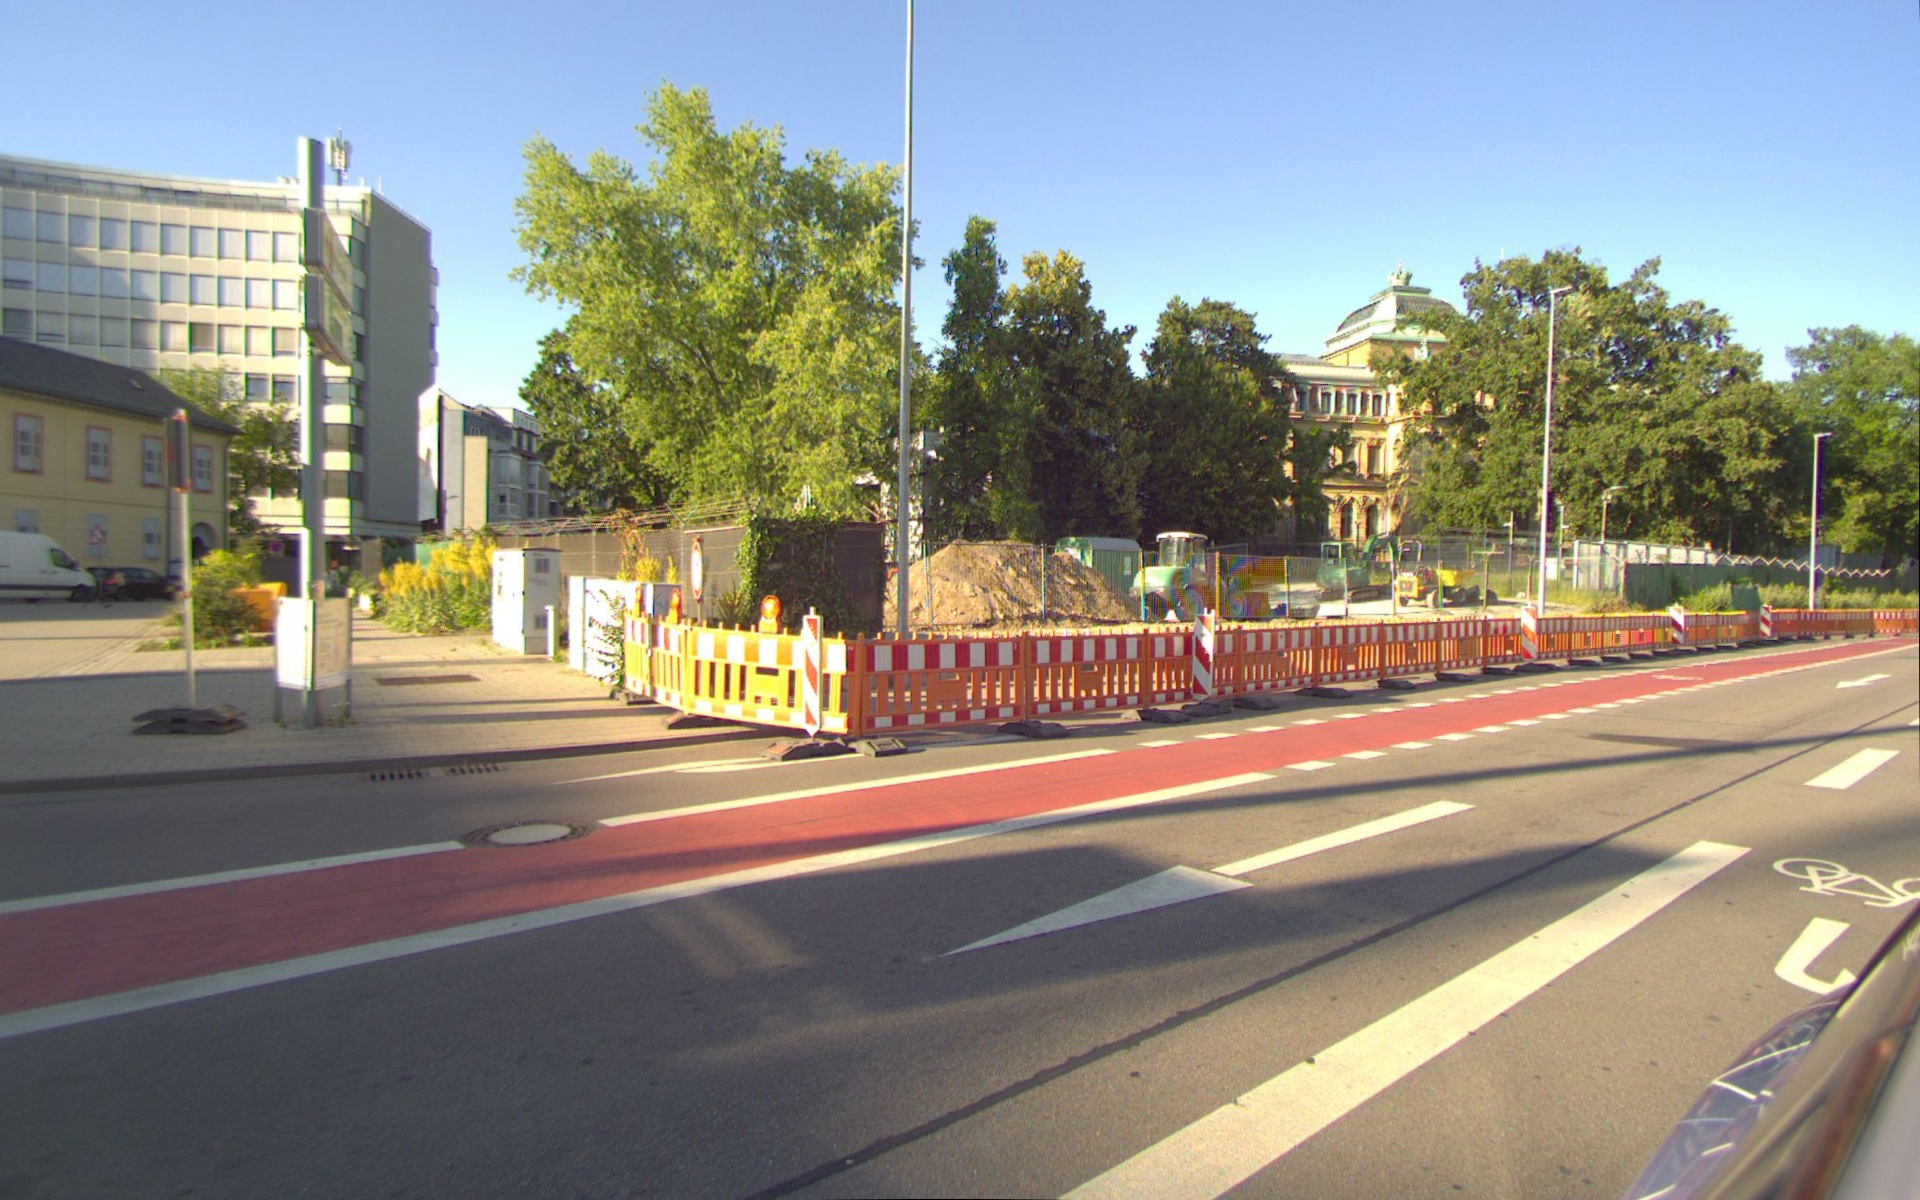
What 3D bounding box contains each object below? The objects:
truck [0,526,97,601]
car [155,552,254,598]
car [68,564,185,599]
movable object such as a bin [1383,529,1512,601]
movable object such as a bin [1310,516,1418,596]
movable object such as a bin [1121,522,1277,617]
[{"bbox_3d":[-34.309,-1.257,36.064,2.258,2.581,5.638,0,0,1],"label":"truck"},{"bbox_3d":[-34.390,-1.094,46.177,1.682,2.005,3.761,0,0,1],"label":"car"},{"bbox_3d":[-34.335,-0.738,41.823,1.682,1.382,3.761,0,0,1],"label":"car"},{"bbox_3d":[20.432,-1.402,42.361,5.750,2.852,2.002,-1,0,-30],"label":"movable object such as a bin"},{"bbox_3d":[18.164,-1.907,45.380,5.274,3.371,1.999,-1,0,-36],"label":"movable object such as a bin"},{"bbox_3d":[7.444,-0.897,31.301,4.920,2.717,1.999,-1,0,-36],"label":"movable object such as a bin"}]
